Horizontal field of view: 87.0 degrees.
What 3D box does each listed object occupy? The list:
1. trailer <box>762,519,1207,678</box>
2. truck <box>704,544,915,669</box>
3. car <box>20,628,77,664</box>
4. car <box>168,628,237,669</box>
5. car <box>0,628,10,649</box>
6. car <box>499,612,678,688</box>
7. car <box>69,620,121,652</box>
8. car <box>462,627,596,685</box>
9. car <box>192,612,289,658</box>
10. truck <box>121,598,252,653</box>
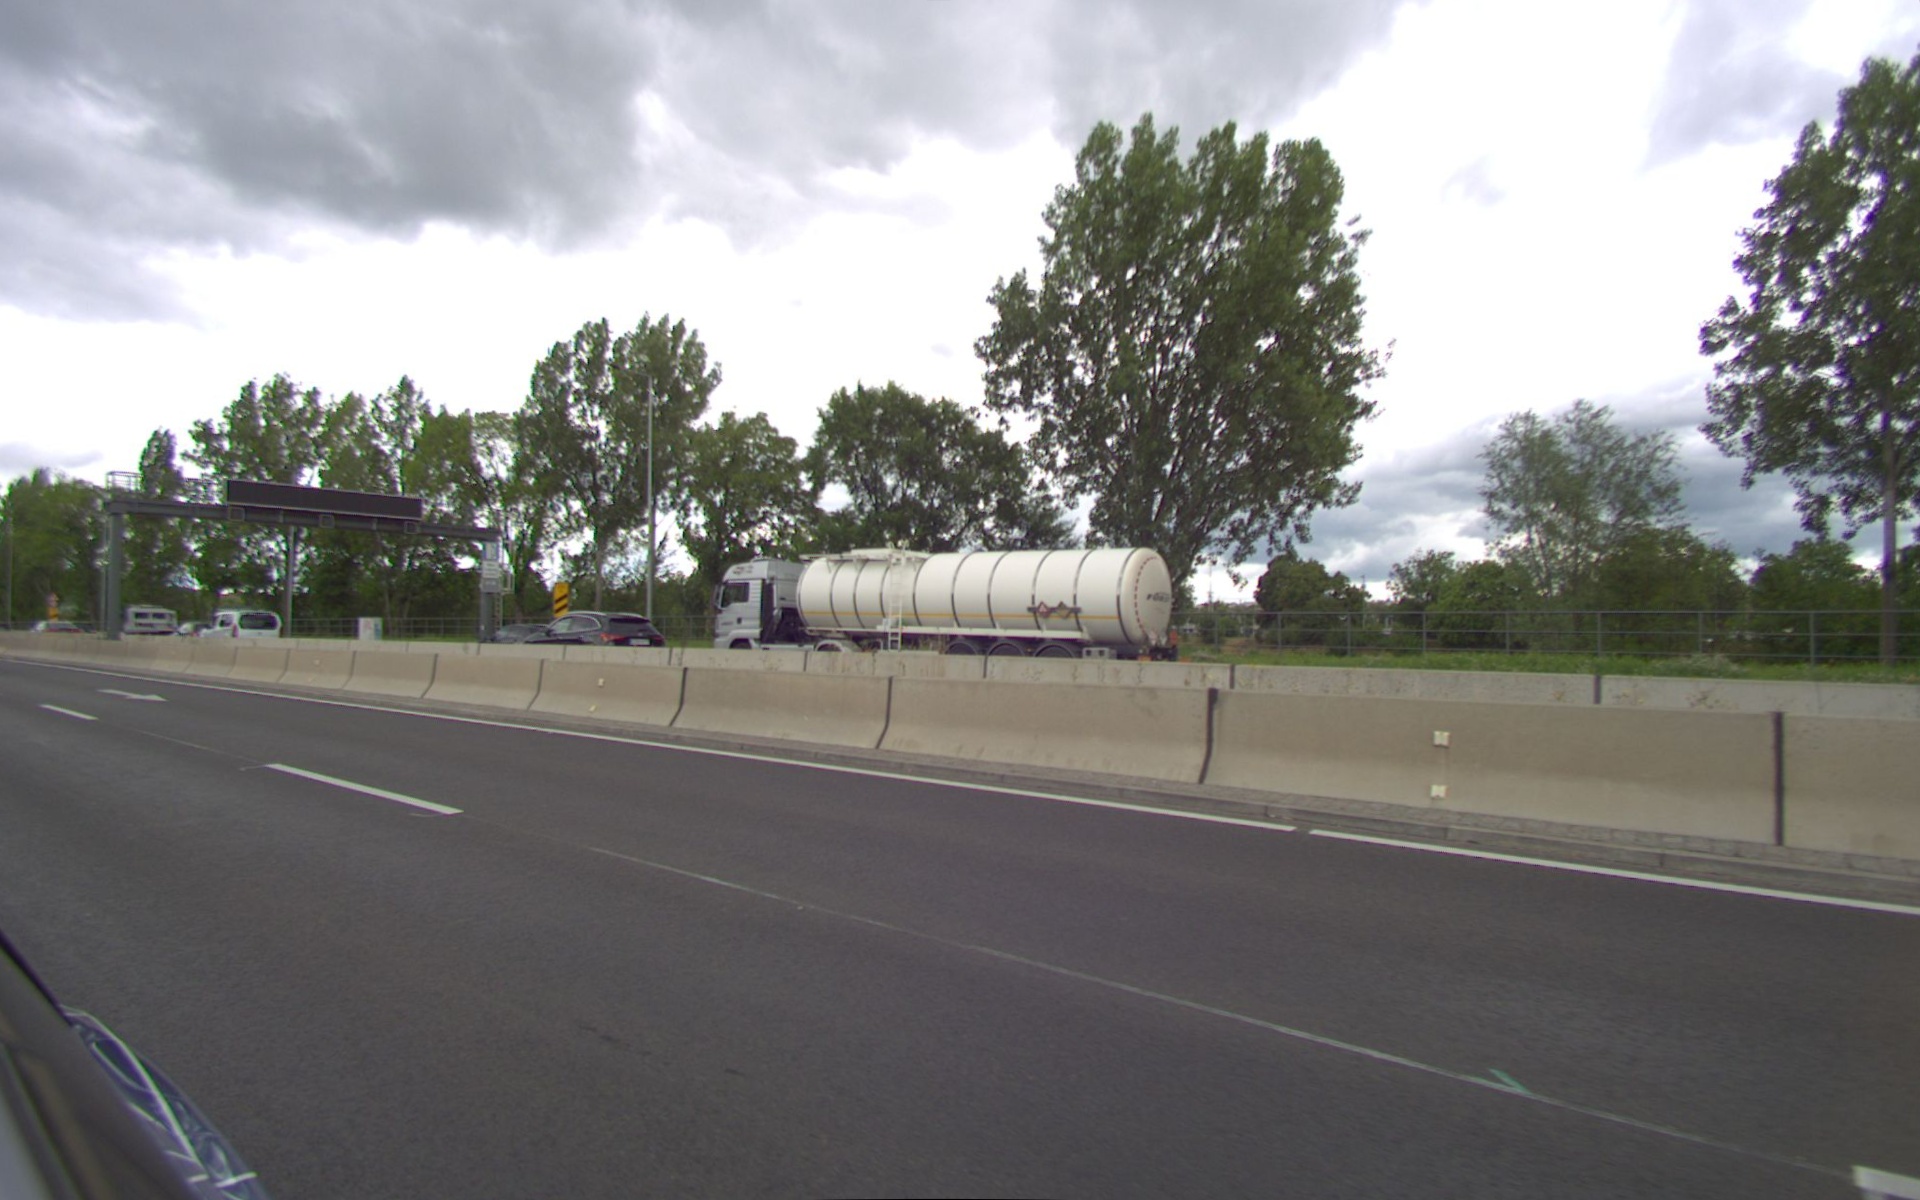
[{"bbox_3d":[0.083,0.085,25.461,11.652,3.244,3.071,-2,0,38],"label":"trailer"},{"bbox_3d":[-4.363,0.210,29.002,5.384,3.243,3.068,-2,0,38],"label":"truck"},{"bbox_3d":[-52.221,2.636,57.949,3.995,1.918,1.799,-2,0,39],"label":"car"},{"bbox_3d":[-39.498,2.497,52.723,3.996,2.029,1.974,-2,0,39],"label":"car"},{"bbox_3d":[-96.026,3.834,100.536,3.998,2.029,1.973,-2,0,41],"label":"car"},{"bbox_3d":[-9.070,1.159,24.513,4.693,1.630,1.974,-2,0,40],"label":"car"},{"bbox_3d":[-55.549,2.312,64.963,4.095,1.891,1.799,-2,0,38],"label":"car"},{"bbox_3d":[-13.701,1.709,32.038,4.693,1.630,1.974,-2,0,40],"label":"car"},{"bbox_3d":[-28.182,1.352,39.584,4.693,1.630,1.974,-2,0,40],"label":"car"},{"bbox_3d":[-48.965,1.637,63.735,15.866,3.130,2.826,-2,0,39],"label":"truck"}]
